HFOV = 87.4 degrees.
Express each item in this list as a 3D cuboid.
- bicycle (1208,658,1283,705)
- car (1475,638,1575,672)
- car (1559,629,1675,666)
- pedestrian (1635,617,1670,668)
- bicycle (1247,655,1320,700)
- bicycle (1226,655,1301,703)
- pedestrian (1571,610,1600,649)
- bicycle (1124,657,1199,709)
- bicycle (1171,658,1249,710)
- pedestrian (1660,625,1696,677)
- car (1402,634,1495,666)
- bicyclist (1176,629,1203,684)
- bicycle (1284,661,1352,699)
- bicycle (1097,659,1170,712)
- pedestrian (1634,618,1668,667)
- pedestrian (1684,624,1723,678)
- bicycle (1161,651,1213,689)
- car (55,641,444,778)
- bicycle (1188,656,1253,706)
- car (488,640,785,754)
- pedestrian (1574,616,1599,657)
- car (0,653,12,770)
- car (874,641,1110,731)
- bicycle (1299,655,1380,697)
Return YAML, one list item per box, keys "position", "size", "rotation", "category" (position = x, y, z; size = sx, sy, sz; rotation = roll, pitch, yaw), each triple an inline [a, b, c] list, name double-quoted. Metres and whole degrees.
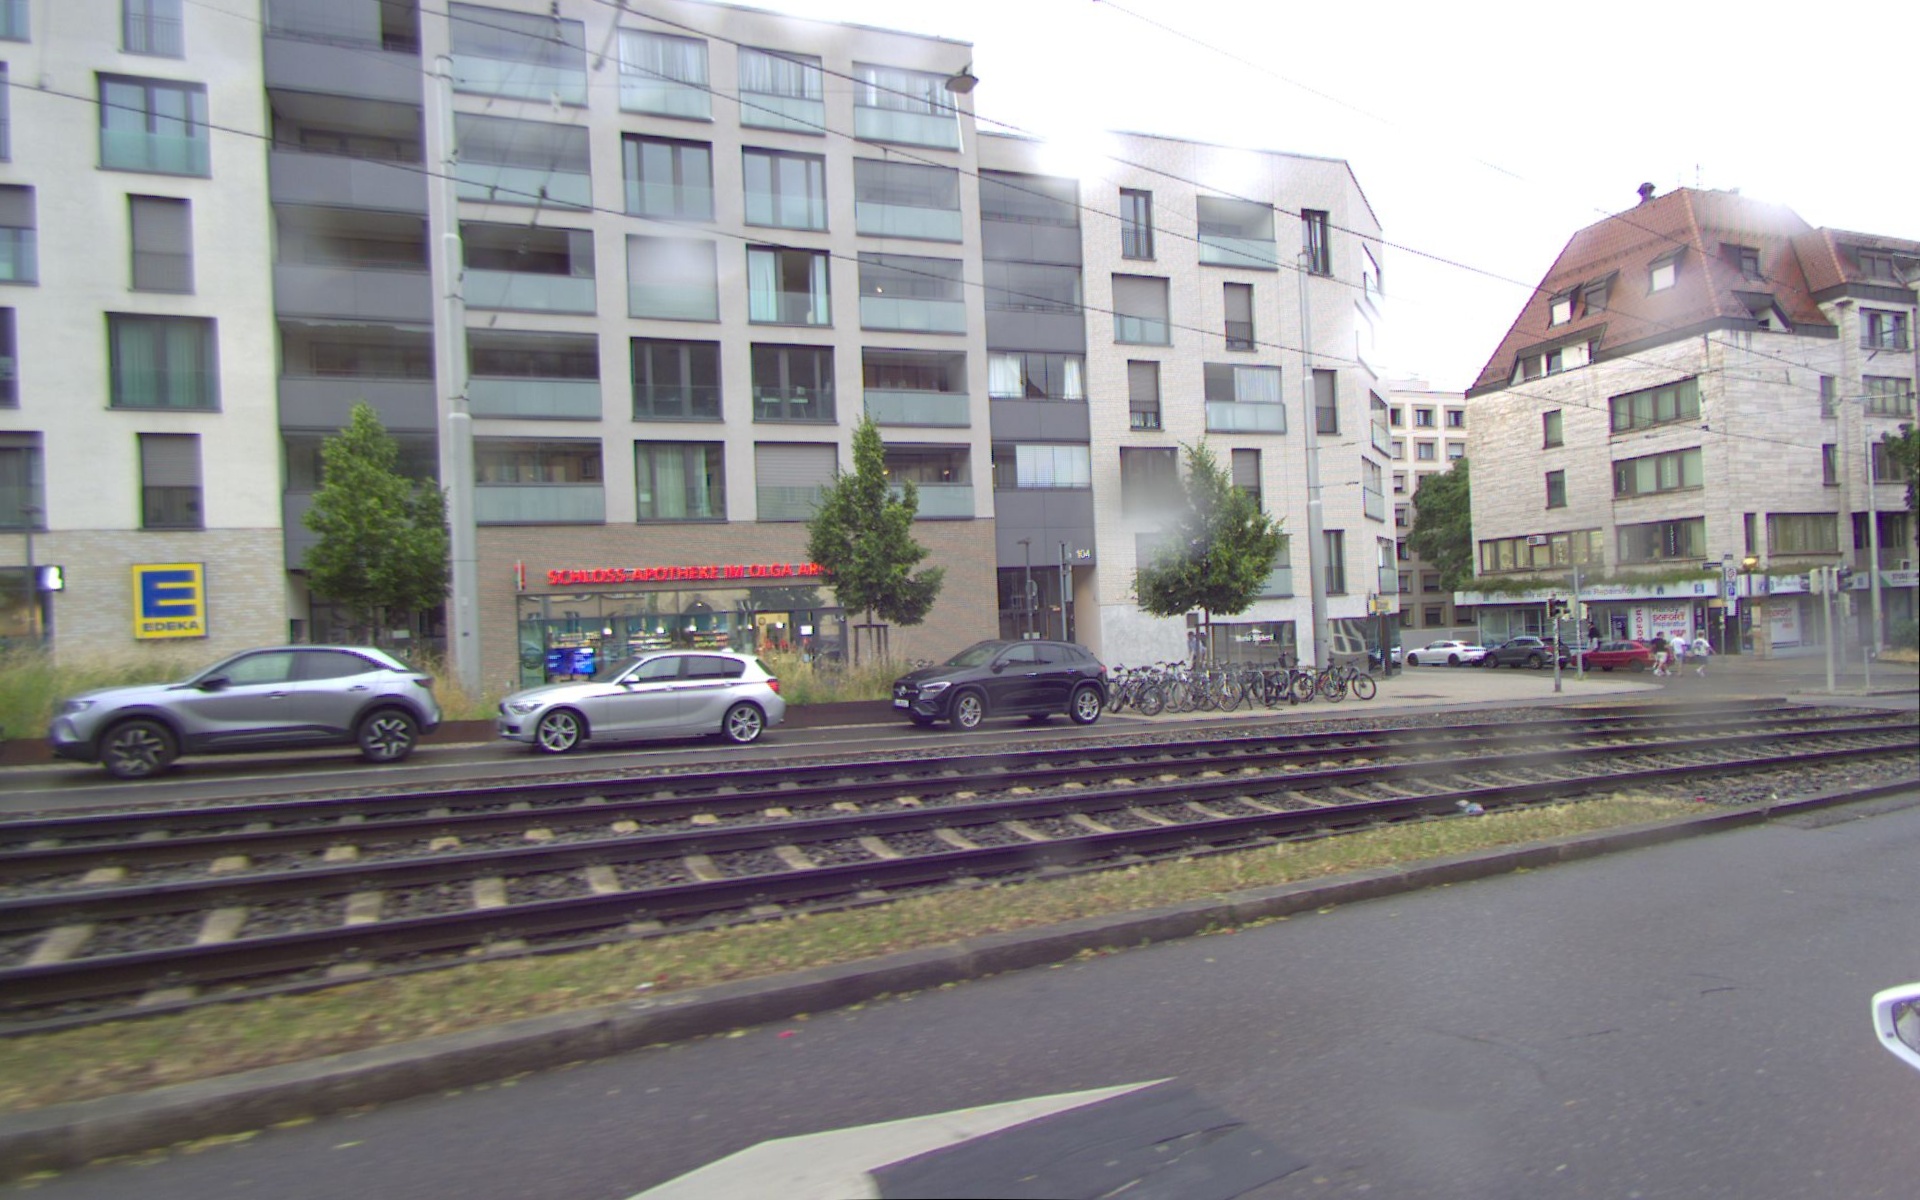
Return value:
- position: [6.962, 1.972, 24.543]
  size: [0.454, 1.078, 1.779]
  rotation: [1, -2, -43]
  category: "bicycle"
- position: [27.959, 2.692, 49.835]
  size: [1.796, 1.589, 4.128]
  rotation: [0, -2, -20]
  category: "car"
- position: [29.459, 2.129, 45.189]
  size: [1.796, 1.589, 4.128]
  rotation: [0, -2, -20]
  category: "car"
- position: [28.247, 1.736, 40.985]
  size: [0.757, 2.040, 0.936]
  rotation: [1, -2, -33]
  category: "pedestrian"
- position: [8.396, 1.991, 26.153]
  size: [0.565, 1.078, 1.781]
  rotation: [1, -1, -41]
  category: "bicycle"
- position: [7.592, 1.955, 25.173]
  size: [1.776, 1.123, 0.453]
  rotation: [-1, -1, 41]
  category: "bicycle"
- position: [32.098, 1.499, 51.556]
  size: [0.815, 1.957, 0.901]
  rotation: [-1, -3, -30]
  category: "pedestrian"
- position: [4.539, 1.853, 22.706]
  size: [0.454, 1.078, 1.782]
  rotation: [1, -1, -40]
  category: "bicycle"
- position: [5.676, 1.889, 22.886]
  size: [0.454, 1.078, 1.779]
  rotation: [1, -2, -43]
  category: "bicycle"
- position: [28.593, 2.011, 40.013]
  size: [0.757, 2.040, 0.936]
  rotation: [1, -2, -33]
  category: "pedestrian"
- position: [26.290, 2.675, 54.230]
  size: [1.879, 1.589, 4.454]
  rotation: [0, -2, -20]
  category: "car"
- position: [6.812, 1.669, 29.839]
  size: [0.695, 1.594, 0.458]
  rotation: [1, -2, -36]
  category: "bicyclist"
- position: [9.303, 2.064, 26.141]
  size: [0.564, 0.877, 1.636]
  rotation: [1, -1, -39]
  category: "bicycle"
- position: [3.809, 1.869, 22.189]
  size: [0.453, 1.078, 1.784]
  rotation: [1, -1, -36]
  category: "bicycle"
- position: [29.205, 1.800, 42.436]
  size: [0.757, 2.040, 0.936]
  rotation: [1, -2, -33]
  category: "pedestrian"
- position: [28.886, 1.970, 39.036]
  size: [0.756, 2.040, 0.937]
  rotation: [1, -2, -30]
  category: "pedestrian"
- position: [6.740, 2.064, 29.773]
  size: [1.785, 1.078, 0.453]
  rotation: [1, -1, -37]
  category: "bicycle"
- position: [-8.997, 1.304, 13.089]
  size: [3.880, 1.523, 1.762]
  rotation: [1, -2, -34]
  category: "car"
- position: [6.172, 1.896, 23.900]
  size: [0.479, 1.086, 1.763]
  rotation: [0, -1, -26]
  category: "bicycle"
- position: [-4.927, 1.389, 15.477]
  size: [4.040, 1.523, 1.762]
  rotation: [1, -2, -33]
  category: "car"
- position: [31.465, 1.846, 50.486]
  size: [0.693, 2.040, 0.793]
  rotation: [1, -2, -22]
  category: "pedestrian"
- position: [-12.832, 1.276, 10.480]
  size: [3.961, 1.380, 1.542]
  rotation: [1, -2, -29]
  category: "car"
- position: [0.650, 1.540, 19.074]
  size: [4.192, 1.523, 1.901]
  rotation: [1, -3, -33]
  category: "car"
- position: [10.135, 2.014, 26.886]
  size: [0.715, 1.041, 1.934]
  rotation: [1, -1, -38]
  category: "bicycle"
